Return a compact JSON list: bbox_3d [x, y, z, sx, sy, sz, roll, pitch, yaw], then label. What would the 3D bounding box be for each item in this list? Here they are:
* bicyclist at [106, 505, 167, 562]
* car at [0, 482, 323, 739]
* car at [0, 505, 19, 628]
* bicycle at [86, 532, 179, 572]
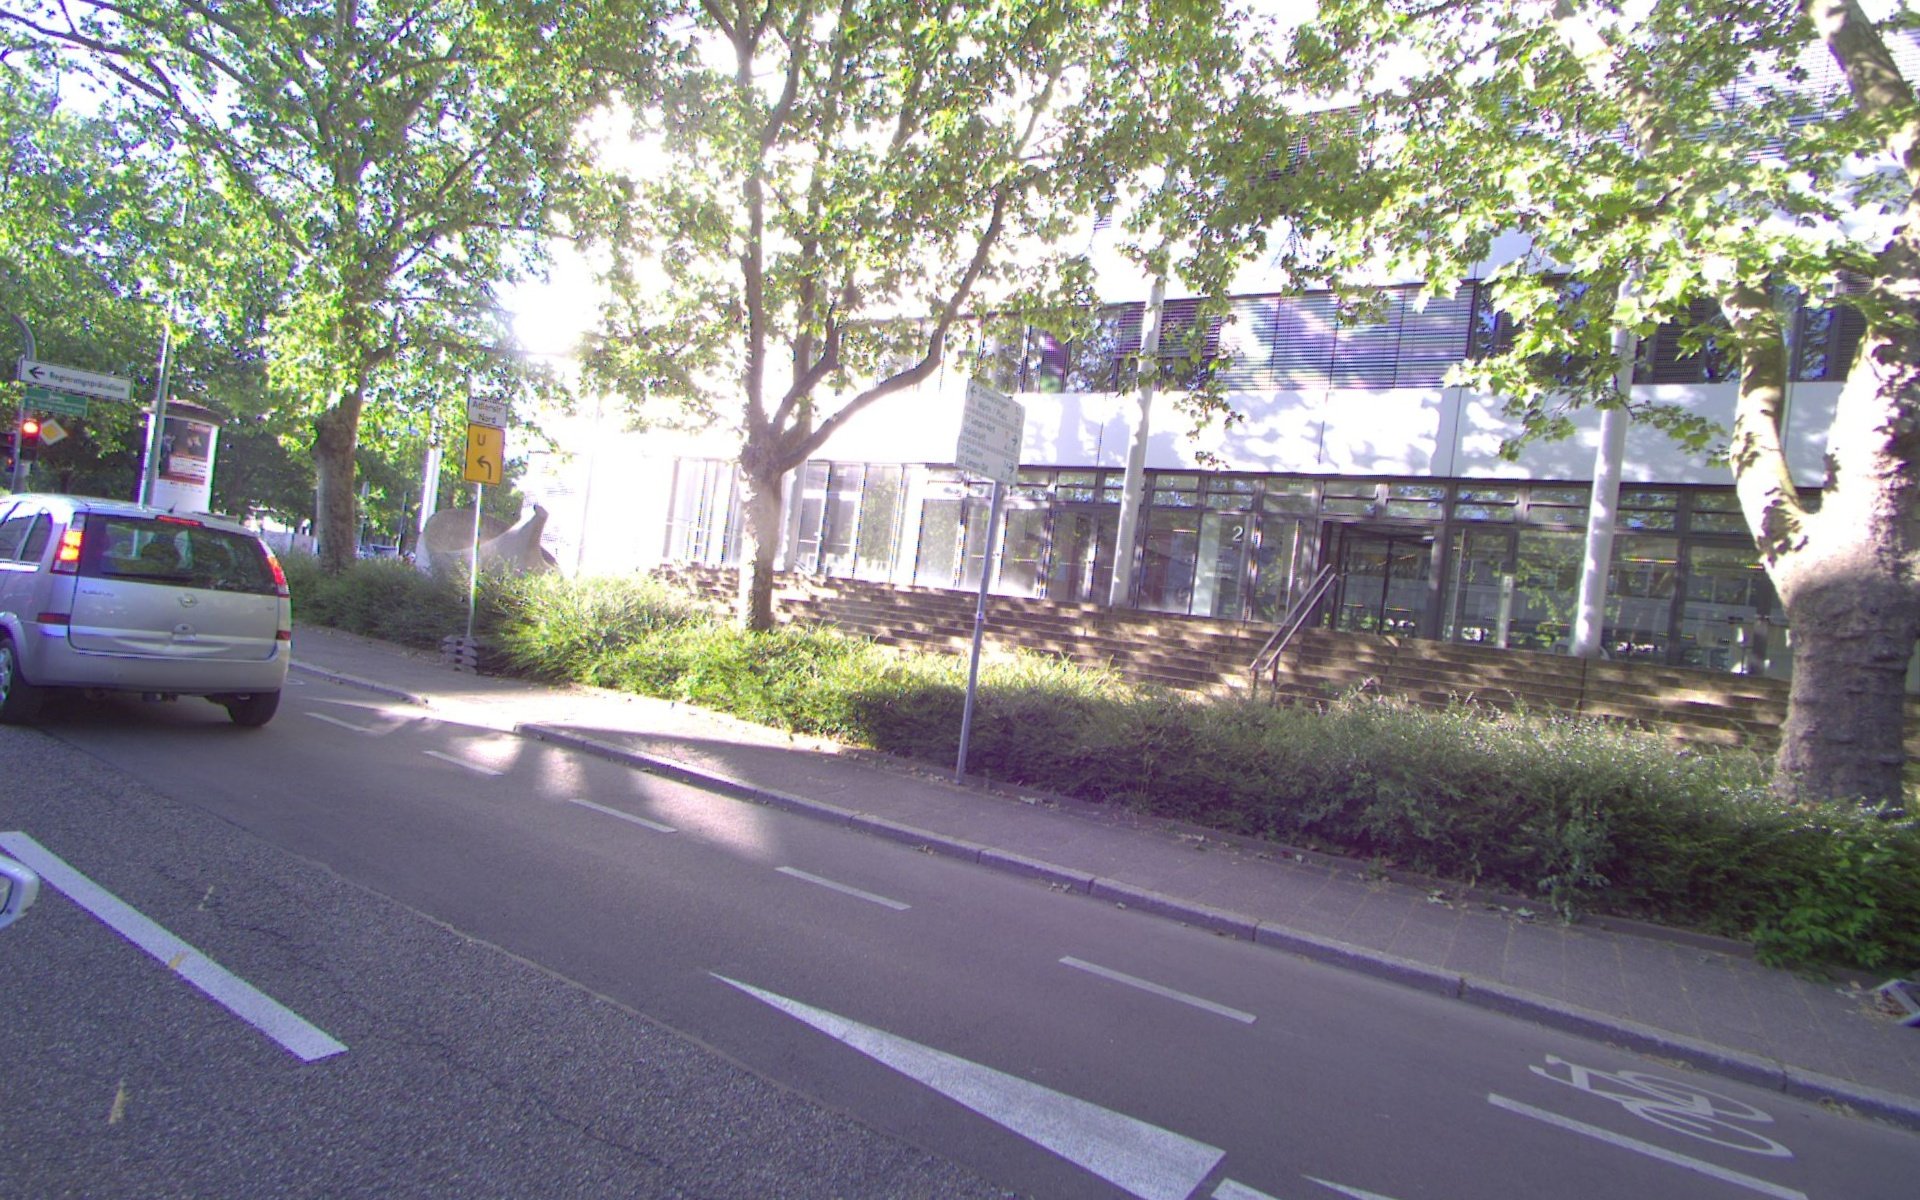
[{"bbox_3d":[-24.900,-2.005,30.435,0.700,1.508,1.118,7,-1,31],"label":"bicyclist"},{"bbox_3d":[-7.079,-0.019,8.161,3.797,1.622,1.703,7,-1,34],"label":"car"},{"bbox_3d":[-13.944,-0.723,12.585,4.592,1.481,1.917,7,-2,32],"label":"car"},{"bbox_3d":[-24.984,-1.436,30.404,0.721,0.914,1.990,7,-1,30],"label":"bicycle"}]
